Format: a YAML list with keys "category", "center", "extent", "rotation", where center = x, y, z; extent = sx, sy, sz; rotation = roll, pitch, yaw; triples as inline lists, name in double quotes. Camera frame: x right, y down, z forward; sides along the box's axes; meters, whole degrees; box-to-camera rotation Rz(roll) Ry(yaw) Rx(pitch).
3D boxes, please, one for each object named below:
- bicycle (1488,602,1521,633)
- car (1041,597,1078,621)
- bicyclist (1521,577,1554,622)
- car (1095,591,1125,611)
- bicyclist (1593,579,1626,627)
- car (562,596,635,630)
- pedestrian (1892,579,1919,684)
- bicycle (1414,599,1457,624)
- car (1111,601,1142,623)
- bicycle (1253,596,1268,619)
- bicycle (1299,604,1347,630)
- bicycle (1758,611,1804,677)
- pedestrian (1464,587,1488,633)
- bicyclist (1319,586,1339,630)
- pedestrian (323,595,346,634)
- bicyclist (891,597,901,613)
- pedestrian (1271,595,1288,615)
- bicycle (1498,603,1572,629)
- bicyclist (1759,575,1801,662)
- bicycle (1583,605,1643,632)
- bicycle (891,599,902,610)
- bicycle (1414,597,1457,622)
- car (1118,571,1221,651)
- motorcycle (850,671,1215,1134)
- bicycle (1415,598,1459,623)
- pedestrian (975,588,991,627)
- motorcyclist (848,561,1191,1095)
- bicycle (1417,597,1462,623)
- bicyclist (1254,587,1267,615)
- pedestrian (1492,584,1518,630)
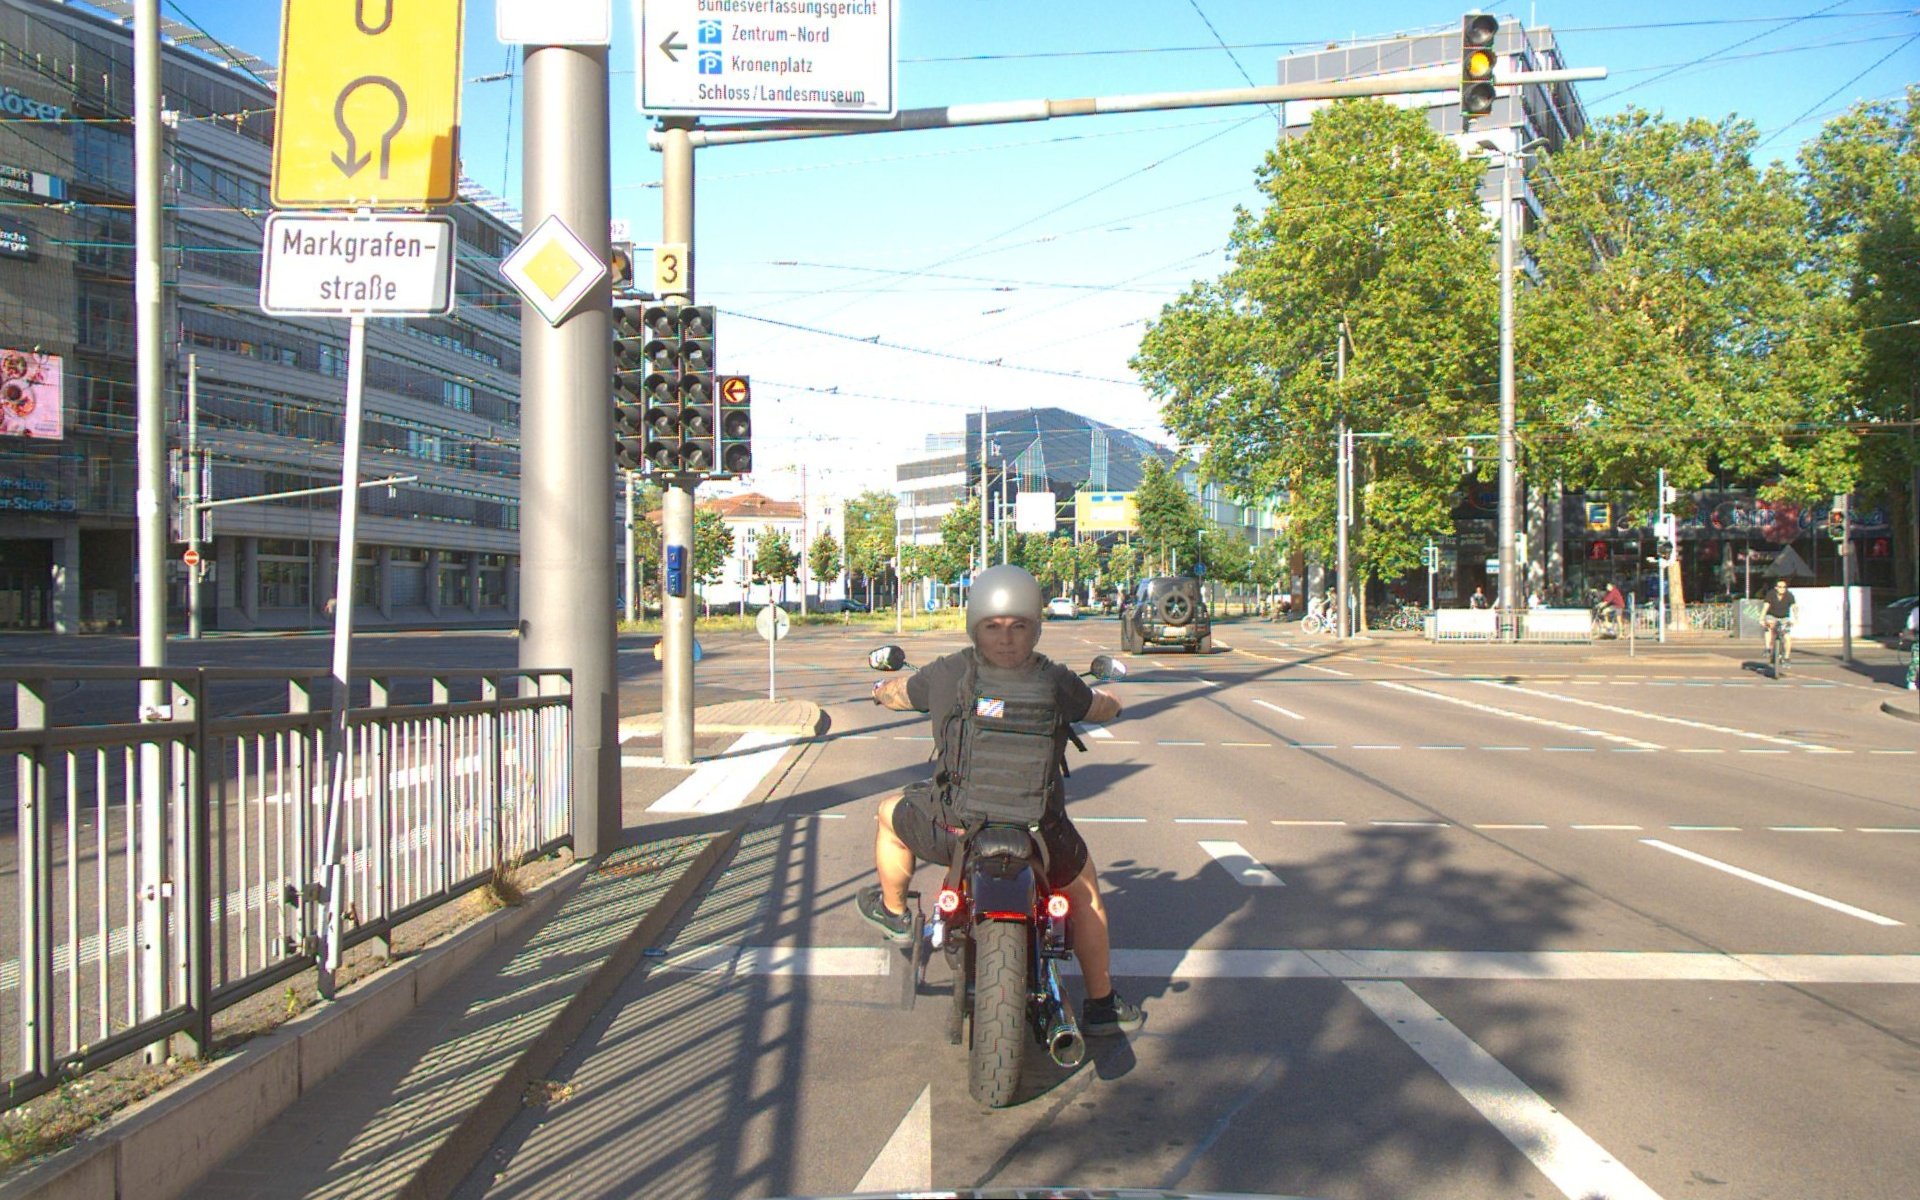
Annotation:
- category: "bicycle"
  center: [19.469, 0.633, 59.089]
  extent: [0.775, 1.070, 1.919]
  rotation: [1, 0, 29]
- category: "car"
  center: [6.631, 0.608, 110.156]
  extent: [1.861, 1.534, 4.003]
  rotation: [1, 0, 12]
- category: "bicyclist"
  center: [25.430, -0.043, 72.883]
  extent: [1.201, 1.965, 0.835]
  rotation: [0, 0, 3]
- category: "car"
  center: [11.938, 0.063, 131.368]
  extent: [1.735, 1.541, 3.735]
  rotation: [0, 0, 16]
- category: "bicyclist"
  center: [22.368, 0.110, 56.936]
  extent: [0.906, 1.643, 0.638]
  rotation: [0, 0, 3]
- category: "car"
  center: [-17.104, 0.586, 78.410]
  extent: [1.753, 1.491, 4.315]
  rotation: [-1, 1, 11]
- category: "pedestrian"
  center: [15.847, 0.520, 27.447]
  extent: [0.552, 1.733, 0.656]
  rotation: [0, -1, 38]
- category: "bicycle"
  center: [19.438, 0.477, 67.589]
  extent: [1.668, 1.003, 0.391]
  rotation: [0, 0, 13]
- category: "car"
  center: [11.731, 0.861, 116.439]
  extent: [1.802, 1.490, 4.003]
  rotation: [1, 0, 11]
- category: "bicycle"
  center: [20.384, 0.517, 112.208]
  extent: [0.842, 1.507, 2.578]
  rotation: [0, 0, 13]
- category: "bicycle"
  center: [14.369, 0.674, 65.477]
  extent: [1.813, 1.039, 0.517]
  rotation: [-1, -1, 11]
- category: "bicycle"
  center: [15.273, 0.800, 30.759]
  extent: [0.589, 1.068, 1.879]
  rotation: [-5, 0, 30]
- category: "pedestrian"
  center: [21.594, 0.429, 69.202]
  extent: [0.829, 1.884, 0.810]
  rotation: [2, 0, 14]
- category: "bicyclist"
  center: [14.586, 0.300, 65.447]
  extent: [0.727, 1.724, 0.570]
  rotation: [-1, -1, 10]
- category: "pedestrian"
  center: [-30.252, 0.719, 80.005]
  extent: [0.660, 1.855, 0.886]
  rotation: [-2, -1, 9]
- category: "bicyclist"
  center: [-6.456, 0.499, 167.302]
  extent: [0.747, 1.696, 0.994]
  rotation: [0, 0, 17]
- category: "pedestrian"
  center: [17.549, 0.295, 90.931]
  extent: [0.768, 1.075, 0.814]
  rotation: [0, 0, 22]
- category: "bicycle"
  center: [25.344, 0.687, 72.893]
  extent: [2.977, 1.133, 0.835]
  rotation: [0, 0, 3]
- category: "bicyclist"
  center: [15.335, 0.337, 30.920]
  extent: [0.568, 1.541, 0.849]
  rotation: [-4, 1, 30]
- category: "bicycle"
  center: [22.458, 0.646, 56.922]
  extent: [1.814, 0.926, 0.652]
  rotation: [0, 0, 3]
- category: "bicycle"
  center: [-6.442, 0.435, 167.305]
  extent: [0.629, 1.127, 1.686]
  rotation: [0, 0, 17]
- category: "bicycle"
  center: [19.557, 0.386, 68.052]
  extent: [1.668, 1.003, 0.391]
  rotation: [0, 0, 13]
- category: "car"
  center: [5.338, 0.277, 42.629]
  extent: [2.011, 1.906, 4.226]
  rotation: [1, 0, -1]
- category: "motorcycle"
  center: [0.185, 0.882, 5.699]
  extent: [0.985, 1.145, 2.323]
  rotation: [1, 0, -1]
- category: "bicycle"
  center: [19.230, 0.429, 66.675]
  extent: [1.668, 1.003, 0.391]
  rotation: [0, 0, 13]
- category: "pedestrian"
  center: [0.954, 0.318, 69.267]
  extent: [0.643, 1.610, 0.489]
  rotation: [0, 0, 3]
- category: "motorcyclist"
  center: [0.169, 0.679, 5.579]
  extent: [1.001, 1.579, 1.286]
  rotation: [1, 0, -1]
- category: "bicycle"
  center: [19.078, 0.391, 65.828]
  extent: [1.668, 1.003, 0.391]
  rotation: [0, 0, 13]
- category: "bicyclist"
  center: [20.397, 0.084, 112.304]
  extent: [0.842, 1.873, 1.258]
  rotation: [0, 0, 13]
- category: "pedestrian"
  center: [19.464, 0.255, 59.079]
  extent: [0.755, 1.622, 0.837]
  rotation: [1, -1, 28]
